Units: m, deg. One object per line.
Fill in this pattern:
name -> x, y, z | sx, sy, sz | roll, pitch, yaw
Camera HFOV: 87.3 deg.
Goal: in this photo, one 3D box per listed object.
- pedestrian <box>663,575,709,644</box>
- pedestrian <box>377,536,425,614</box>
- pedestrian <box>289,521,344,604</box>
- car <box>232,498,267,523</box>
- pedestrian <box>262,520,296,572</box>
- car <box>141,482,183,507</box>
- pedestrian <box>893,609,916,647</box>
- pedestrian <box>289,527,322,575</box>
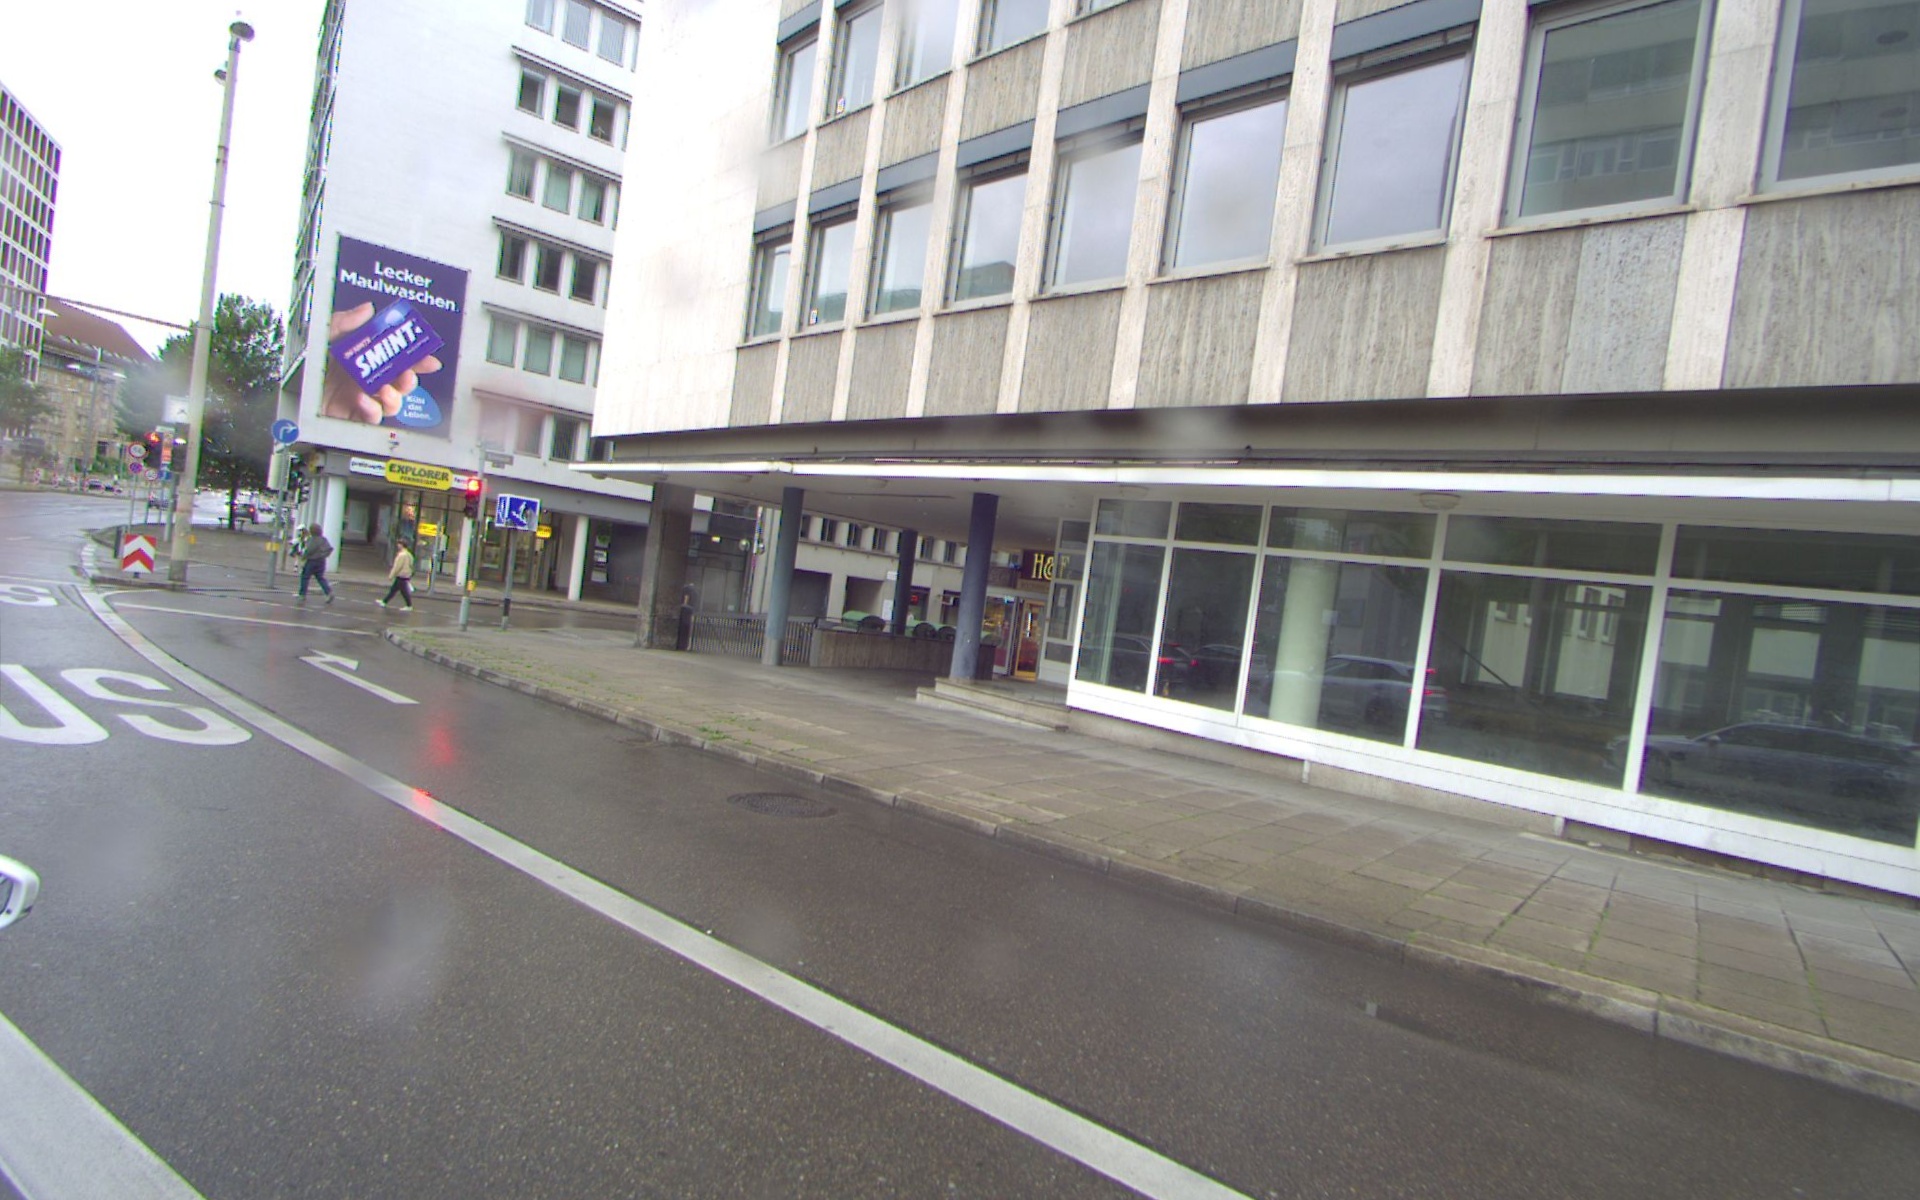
pedestrian -> -7.574, 0.267, 27.830 | 1.002, 1.776, 0.793 | 7, -1, -14
pedestrian -> -13.929, -0.631, 25.072 | 0.725, 1.820, 0.730 | 7, 1, -43
pedestrian -> -15.095, -0.883, 23.596 | 0.810, 1.820, 0.702 | 7, 1, -43
car -> -66.330, -8.342, 93.965 | 2.032, 1.786, 4.324 | 9, -2, -29
pedestrian -> -23.443, -1.862, 34.648 | 0.725, 1.688, 0.682 | 7, 0, -43
car -> -63.518, -8.378, 80.179 | 1.897, 1.527, 4.321 | 9, -2, -31
pedestrian -> -2.849, 1.450, 51.670 | 0.677, 1.820, 0.722 | 7, 0, -37
pedestrian -> -22.820, -1.709, 35.058 | 0.725, 1.542, 0.751 | 7, 0, -43
